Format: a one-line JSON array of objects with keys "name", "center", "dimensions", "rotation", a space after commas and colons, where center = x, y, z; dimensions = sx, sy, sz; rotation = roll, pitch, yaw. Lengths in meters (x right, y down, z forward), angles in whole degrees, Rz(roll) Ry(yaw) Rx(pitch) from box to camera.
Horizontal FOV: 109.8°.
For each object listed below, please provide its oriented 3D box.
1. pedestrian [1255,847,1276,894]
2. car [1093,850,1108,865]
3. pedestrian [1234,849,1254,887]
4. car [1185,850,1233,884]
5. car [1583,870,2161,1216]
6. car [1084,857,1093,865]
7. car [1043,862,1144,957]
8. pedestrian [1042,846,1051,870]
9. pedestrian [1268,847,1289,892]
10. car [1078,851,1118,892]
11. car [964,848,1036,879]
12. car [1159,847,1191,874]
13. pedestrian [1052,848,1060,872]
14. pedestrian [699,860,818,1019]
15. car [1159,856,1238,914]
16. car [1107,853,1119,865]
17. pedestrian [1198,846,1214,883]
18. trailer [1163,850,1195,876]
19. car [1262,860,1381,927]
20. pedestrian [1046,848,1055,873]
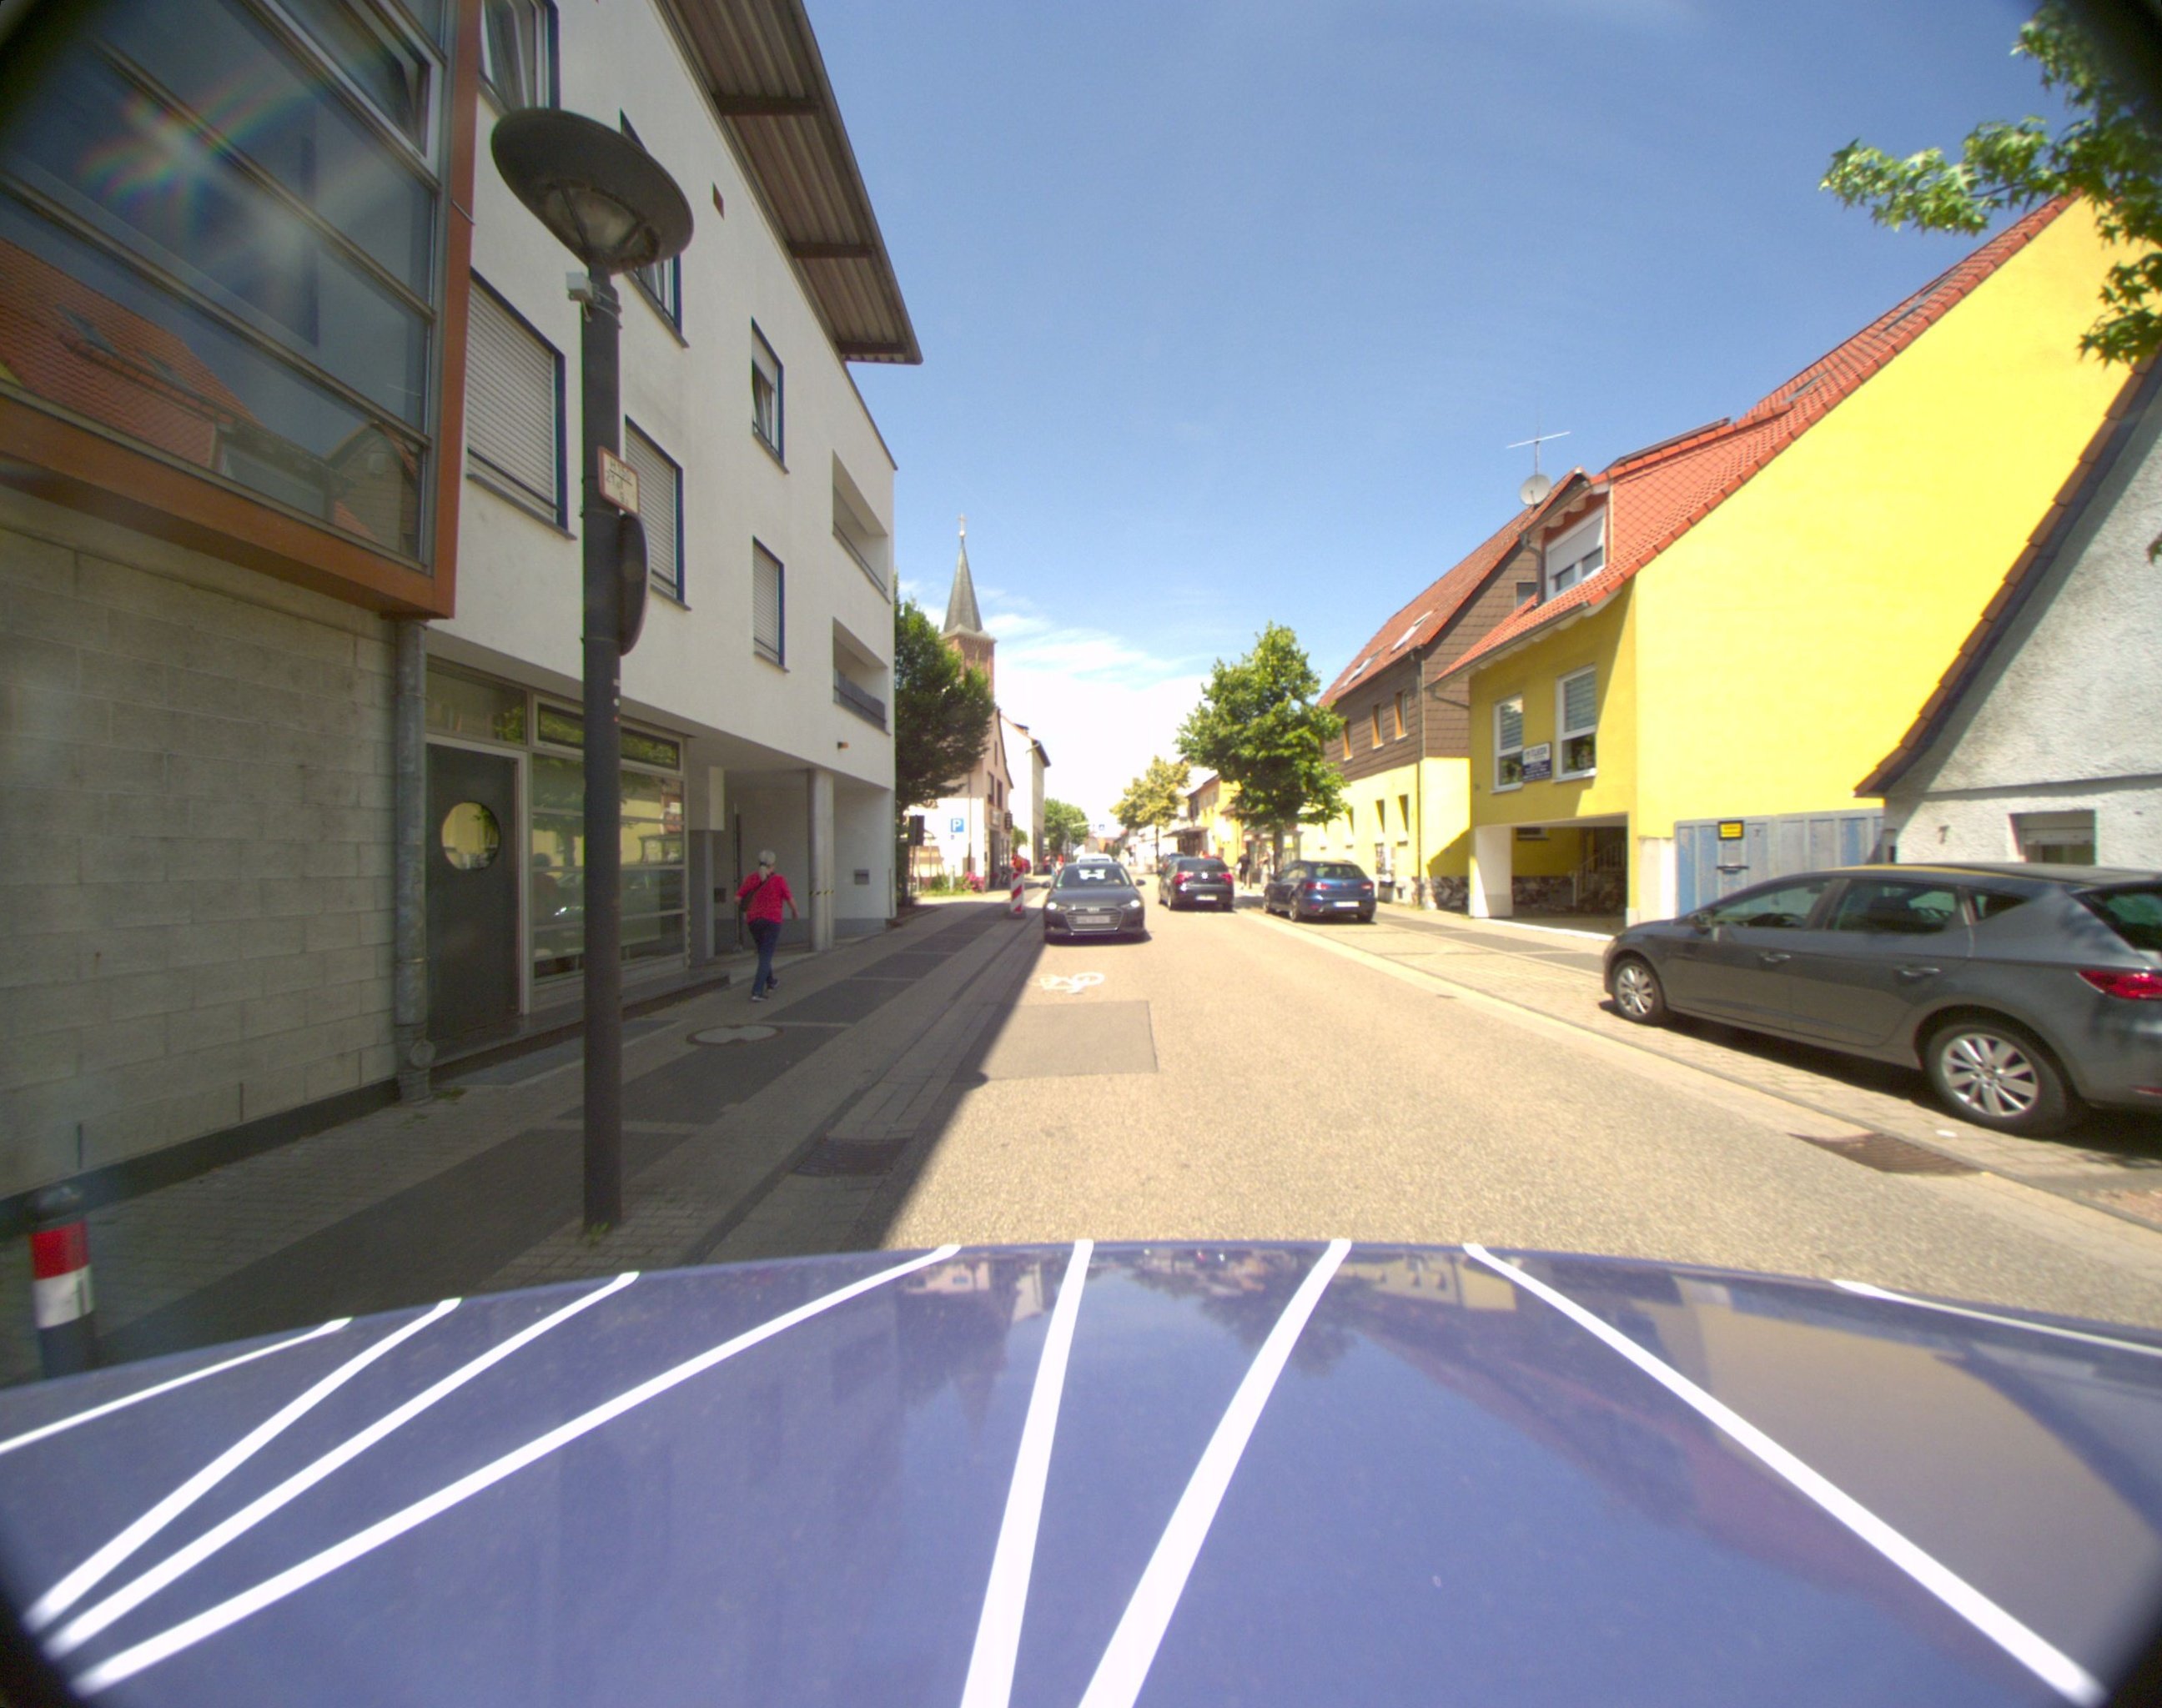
[{"name": "pedestrian", "center": [6.406, 0.566, 26.389], "dimensions": [0.631, 1.592, 0.528], "rotation": [0, 1, 1]}, {"name": "car", "center": [2.062, 0.376, 81.290], "dimensions": [1.581, 1.620, 4.065], "rotation": [0, 0, 1]}, {"name": "pedestrian", "center": [6.760, 0.575, 31.556], "dimensions": [0.663, 1.592, 0.771], "rotation": [0, 1, 2]}, {"name": "car", "center": [6.299, 0.587, 37.743], "dimensions": [1.753, 1.566, 4.158], "rotation": [-1, 0, 1]}, {"name": "car", "center": [5.695, 0.890, 5.369], "dimensions": [1.649, 1.422, 4.099], "rotation": [-1, 0, 1]}, {"name": "car", "center": [1.611, 1.391, 158.603], "dimensions": [1.720, 1.577, 3.730], "rotation": [-3, 0, -1]}, {"name": "car", "center": [0.235, 0.920, 14.379], "dimensions": [1.581, 1.424, 4.065], "rotation": [-3, 0, 1]}, {"name": "pedestrian", "center": [-2.759, 0.328, 60.719], "dimensions": [0.581, 1.875, 0.695], "rotation": [0, 1, 3]}, {"name": "pedestrian", "center": [7.019, 0.555, 26.994], "dimensions": [0.631, 1.592, 0.528], "rotation": [0, 1, 1]}, {"name": "car", "center": [0.690, 0.672, 31.830], "dimensions": [1.581, 1.620, 4.065], "rotation": [0, 0, 1]}, {"name": "car", "center": [-4.988, 0.566, 46.960], "dimensions": [4.203, 1.849, 2.000], "rotation": [0, 0, 1]}, {"name": "car", "center": [6.701, 0.448, 54.409], "dimensions": [1.695, 1.742, 3.999], "rotation": [-3, 0, -1]}, {"name": "pedestrian", "center": [-1.981, 0.492, 59.594], "dimensions": [0.581, 1.875, 0.695], "rotation": [0, 1, 3]}, {"name": "pedestrian", "center": [-3.444, 0.876, 8.203], "dimensions": [0.825, 1.579, 0.919], "rotation": [2, 1, 1]}, {"name": "car", "center": [3.294, 0.819, 21.911], "dimensions": [1.693, 1.464, 4.000], "rotation": [0, 0, 1]}, {"name": "car", "center": [5.439, 0.827, 128.345], "dimensions": [1.695, 1.761, 3.999], "rotation": [-4, 0, -1]}, {"name": "pedestrian", "center": [5.582, 0.471, 33.964], "dimensions": [0.643, 1.645, 0.624], "rotation": [0, 1, 1]}, {"name": "trailer", "center": [6.443, 0.553, 50.264], "dimensions": [1.493, 1.571, 3.883], "rotation": [-3, 0, -1]}, {"name": "car", "center": [5.655, 0.861, 18.366], "dimensions": [1.660, 1.399, 4.158], "rotation": [0, 0, 1]}, {"name": "pedestrian", "center": [-2.335, 0.499, 58.284], "dimensions": [0.581, 1.875, 0.695], "rotation": [0, 1, 3]}]
